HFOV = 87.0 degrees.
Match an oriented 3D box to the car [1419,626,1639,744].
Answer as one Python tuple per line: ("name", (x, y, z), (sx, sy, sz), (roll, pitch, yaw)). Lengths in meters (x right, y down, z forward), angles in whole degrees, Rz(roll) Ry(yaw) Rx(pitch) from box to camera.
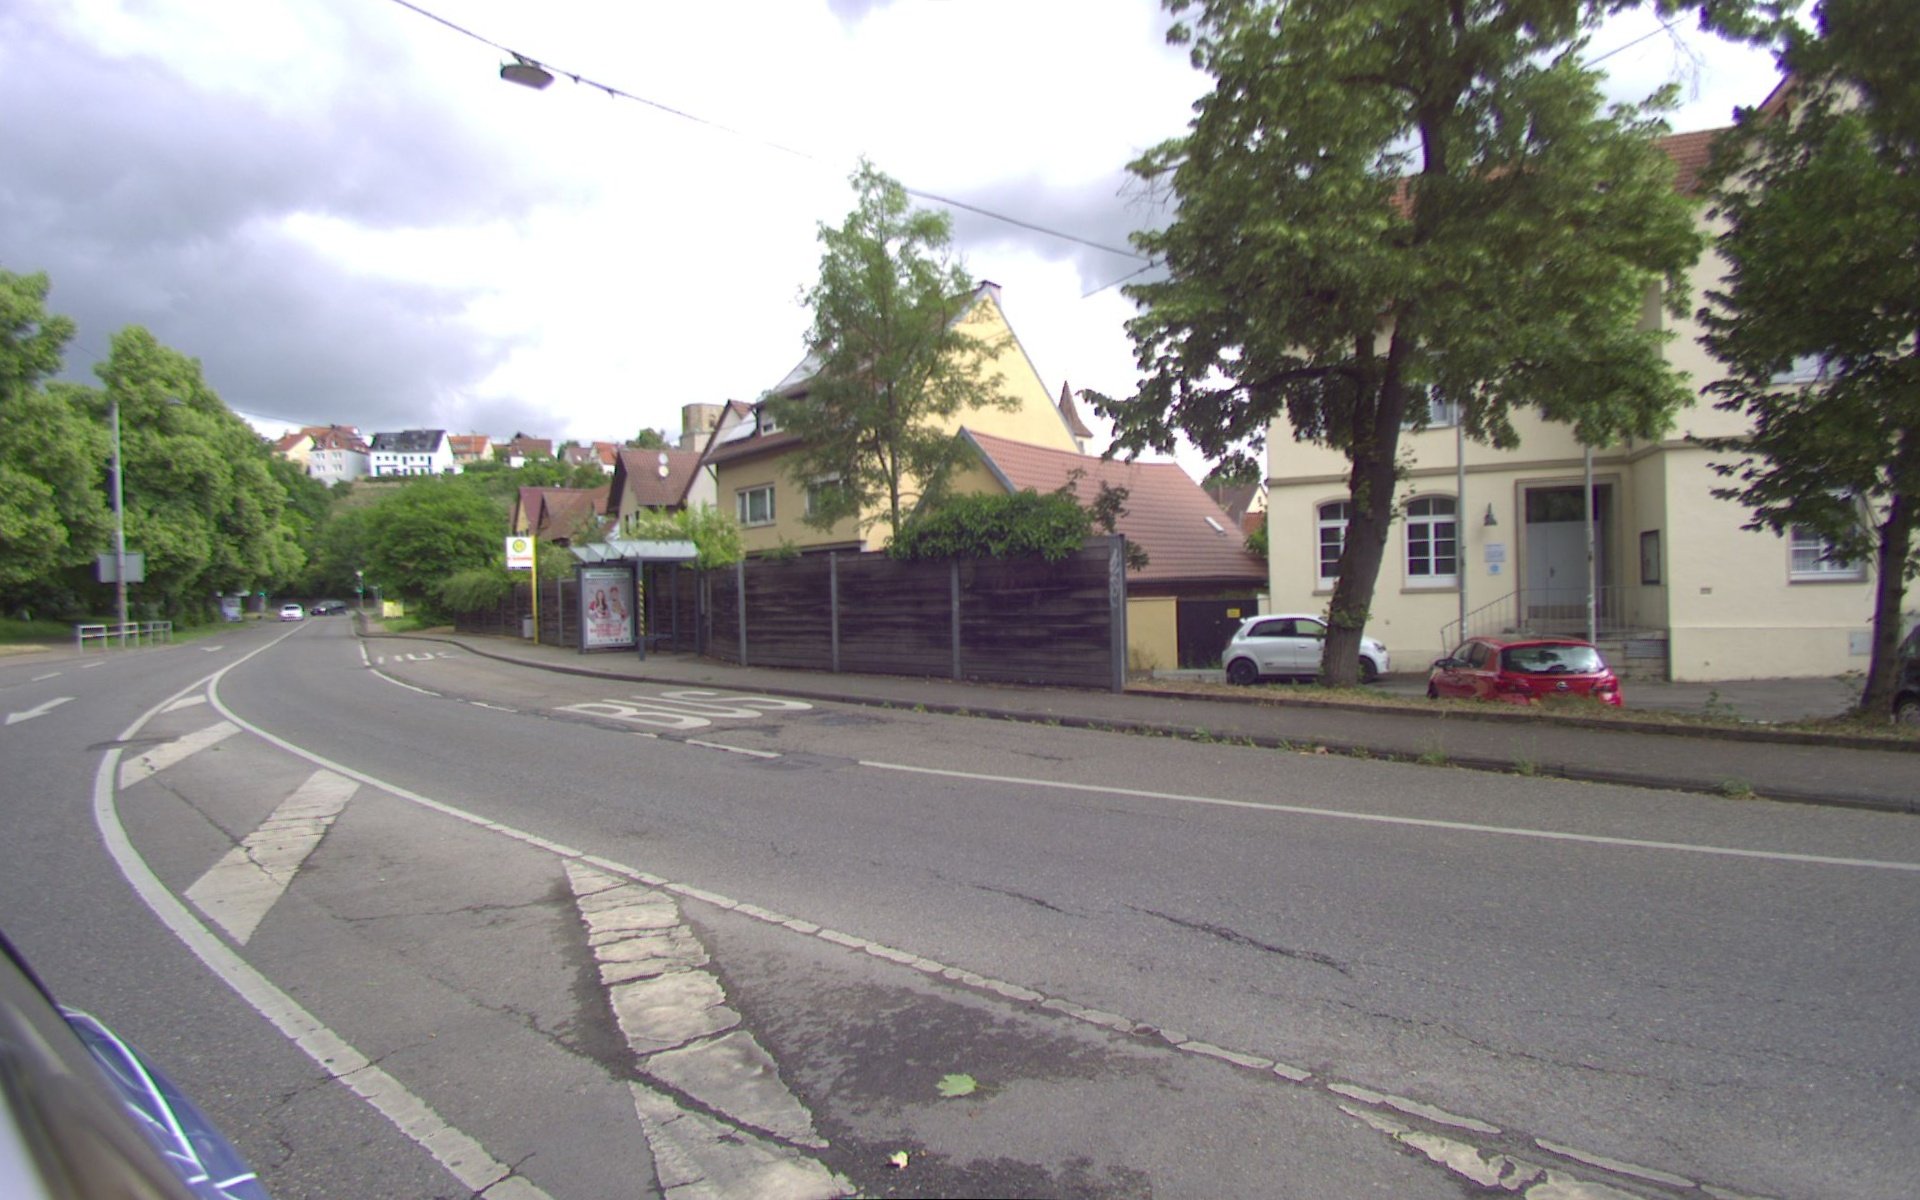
("car", (8.155, 1.143, 14.881), (1.644, 1.393, 3.708), (-1, 0, 10))

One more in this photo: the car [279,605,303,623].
("car", (-61.886, 1.277, 93.648), (1.735, 1.536, 3.694), (-1, 0, -32))

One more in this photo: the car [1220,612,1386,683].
("car", (7.719, 1.052, 22.891), (3.411, 1.490, 1.600), (-1, 0, 21))

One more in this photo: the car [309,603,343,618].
("car", (-69.674, 1.131, 111.242), (1.737, 1.596, 3.689), (-1, 0, -7))

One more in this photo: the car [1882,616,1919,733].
("car", (12.633, 0.930, 11.310), (1.626, 1.450, 3.567), (-1, 0, 7))
